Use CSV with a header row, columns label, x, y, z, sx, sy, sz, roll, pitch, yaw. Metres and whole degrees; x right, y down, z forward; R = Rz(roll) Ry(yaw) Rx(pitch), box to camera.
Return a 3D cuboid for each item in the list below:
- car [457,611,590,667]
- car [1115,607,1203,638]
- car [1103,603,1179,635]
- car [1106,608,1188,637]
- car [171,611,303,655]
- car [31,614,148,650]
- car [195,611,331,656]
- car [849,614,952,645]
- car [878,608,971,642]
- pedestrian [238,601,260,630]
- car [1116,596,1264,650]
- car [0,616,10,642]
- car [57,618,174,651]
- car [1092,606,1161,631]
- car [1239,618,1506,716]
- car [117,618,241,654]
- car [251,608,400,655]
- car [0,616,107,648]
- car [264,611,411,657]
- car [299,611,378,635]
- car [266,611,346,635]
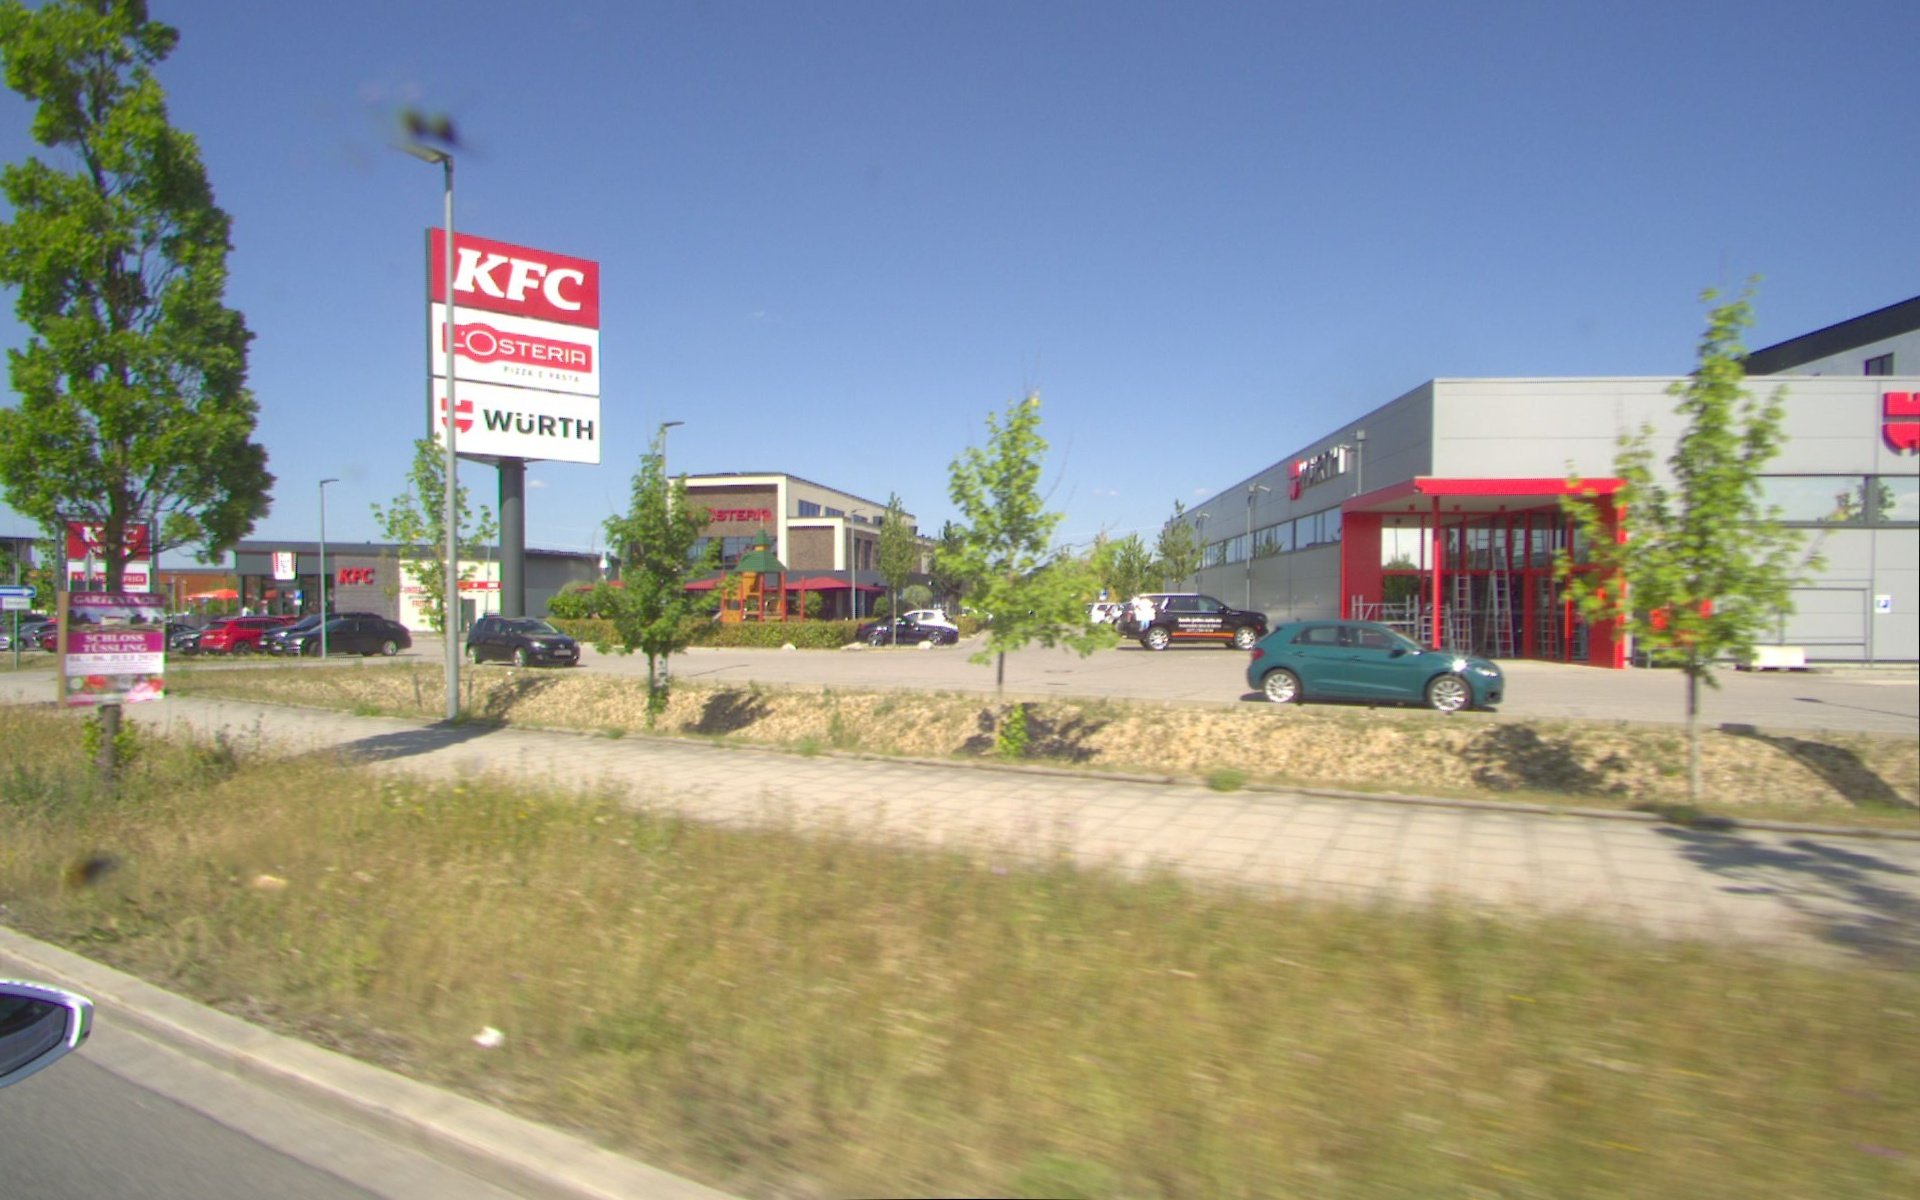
label,x,y,z,sx,sy,sz,roll,pitch,yaw
car,-13.134,1.134,30.055,4.113,1.560,1.775,-1,-1,35
car,9.745,1.102,49.304,4.029,1.481,1.702,0,0,3
car,10.210,1.068,56.760,4.029,1.780,1.702,0,0,3
car,9.712,1.159,52.195,4.029,1.481,1.702,0,0,3
car,-31.925,1.423,44.338,1.765,1.758,4.398,0,1,31
car,-44.660,1.590,51.454,1.839,1.687,4.151,0,1,27
car,-29.380,1.363,42.341,1.767,1.758,4.393,0,1,34
car,-2.389,1.184,40.972,4.055,1.228,1.654,0,0,2
car,-1.599,1.143,45.779,4.150,1.491,1.702,0,0,2
pedestrian,-50.900,1.087,71.676,0.875,2.040,0.915,0,0,16
car,8.017,0.778,35.299,4.828,1.839,2.049,0,0,4
car,-57.695,1.734,57.491,1.836,1.510,4.209,0,0,20
car,-42.512,1.699,50.517,1.760,1.469,4.157,0,1,21
car,10.202,1.115,61.583,4.029,1.481,1.702,0,0,3
car,6.769,1.027,16.582,3.938,1.426,1.512,0,0,28
car,-35.836,1.614,46.032,4.375,1.469,1.774,0,1,-43
car,-26.328,1.251,41.764,1.909,1.758,4.976,0,1,28
car,-48.759,1.684,53.486,1.837,1.510,4.556,0,1,23
car,-23.744,1.249,38.388,1.964,1.587,4.401,0,1,28
car,-41.723,1.522,67.356,1.833,1.450,4.565,0,0,12
car,-44.184,1.542,67.773,1.833,1.450,4.565,0,0,12
